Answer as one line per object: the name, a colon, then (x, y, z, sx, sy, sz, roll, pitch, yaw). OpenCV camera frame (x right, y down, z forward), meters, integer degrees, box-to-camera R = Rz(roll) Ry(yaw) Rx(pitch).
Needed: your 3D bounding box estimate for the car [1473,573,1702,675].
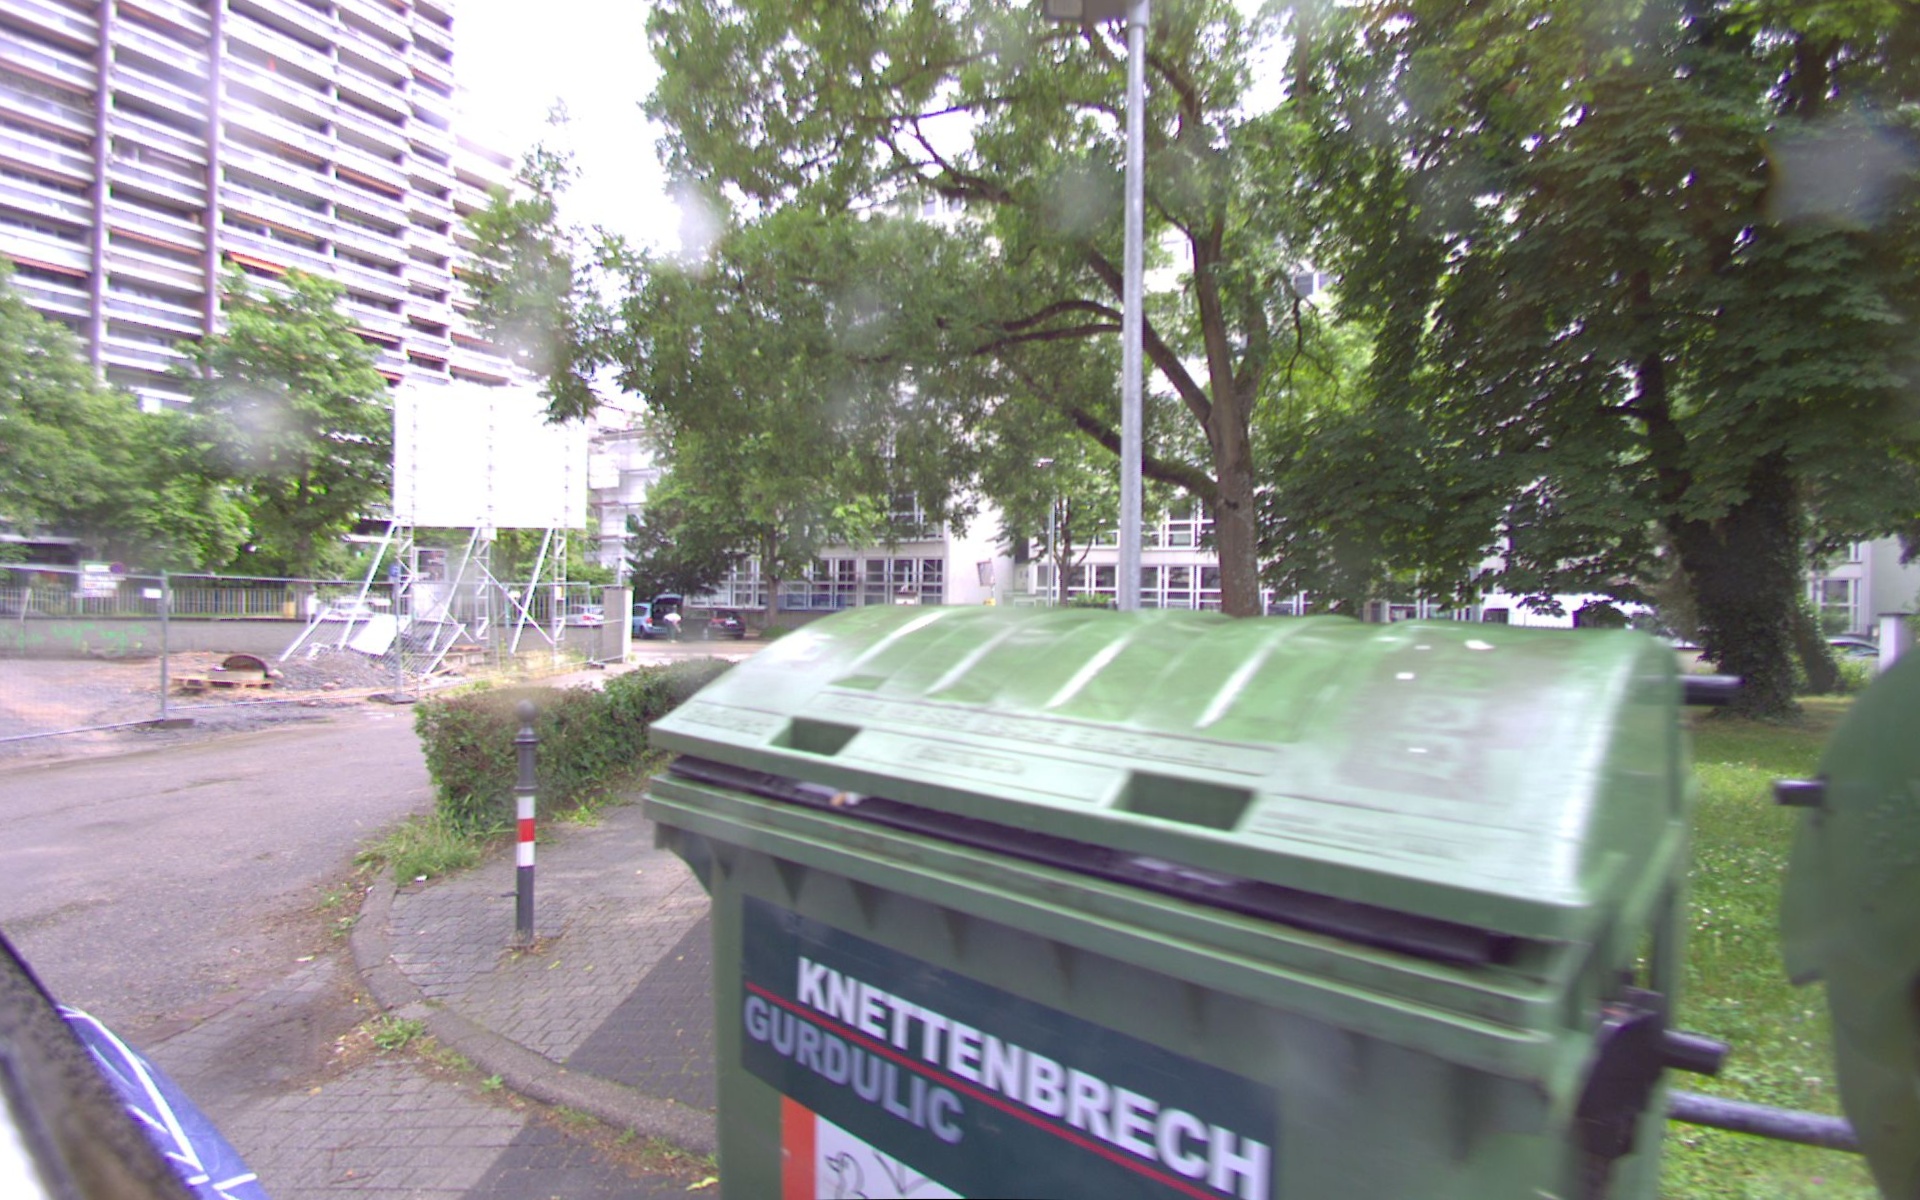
car: (17.478, 0.666, 28.387, 5.013, 2.601, 2.093, 2, -1, 2)

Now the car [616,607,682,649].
car: (-13.998, 1.212, 45.503, 1.596, 1.760, 3.655, 1, 0, -39)

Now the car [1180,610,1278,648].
car: (11.766, 1.243, 44.381, 1.762, 1.517, 3.787, 3, -1, -40)

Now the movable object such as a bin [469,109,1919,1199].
movable object such as a bin: (0.392, 0.442, 1.521, 1.554, 1.481, 1.399, 0, 1, 30)

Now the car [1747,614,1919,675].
car: (24.540, 1.206, 27.920, 4.087, 1.533, 1.911, 2, -1, 2)

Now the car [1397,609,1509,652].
car: (21.510, 1.314, 44.240, 4.081, 1.663, 1.766, 1, -1, 40)

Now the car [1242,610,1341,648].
car: (14.660, 1.287, 44.823, 1.762, 1.517, 3.787, 3, -1, -40)

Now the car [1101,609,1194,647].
car: (8.281, 1.235, 44.948, 1.762, 1.517, 3.787, 3, -1, -40)

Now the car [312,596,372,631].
car: (-28.452, 0.594, 46.567, 1.830, 1.497, 4.008, -1, 1, -39)

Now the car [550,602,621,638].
car: (-16.905, 0.880, 45.578, 1.830, 1.497, 4.008, -1, 1, -39)

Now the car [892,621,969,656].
car: (-1.346, 1.705, 44.932, 1.628, 1.456, 3.395, 3, -2, -40)

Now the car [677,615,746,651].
car: (-11.162, 1.447, 45.287, 1.596, 1.438, 3.655, 1, 0, -39)

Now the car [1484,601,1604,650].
car: (25.149, 1.071, 43.662, 1.762, 1.947, 4.092, 3, -1, -40)

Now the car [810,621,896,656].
car: (-4.856, 1.719, 45.617, 4.002, 1.425, 1.698, 0, -2, 45)

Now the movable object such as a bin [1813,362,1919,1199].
movable object such as a bin: (1.722, 0.452, 0.726, 1.459, 1.481, 1.350, 0, 1, 30)

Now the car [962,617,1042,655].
car: (1.852, 1.581, 44.970, 1.681, 1.615, 3.395, 3, -2, -40)

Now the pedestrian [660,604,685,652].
pedestrian: (-12.402, 1.195, 43.668, 0.917, 2.029, 0.861, 1, -1, -8)
